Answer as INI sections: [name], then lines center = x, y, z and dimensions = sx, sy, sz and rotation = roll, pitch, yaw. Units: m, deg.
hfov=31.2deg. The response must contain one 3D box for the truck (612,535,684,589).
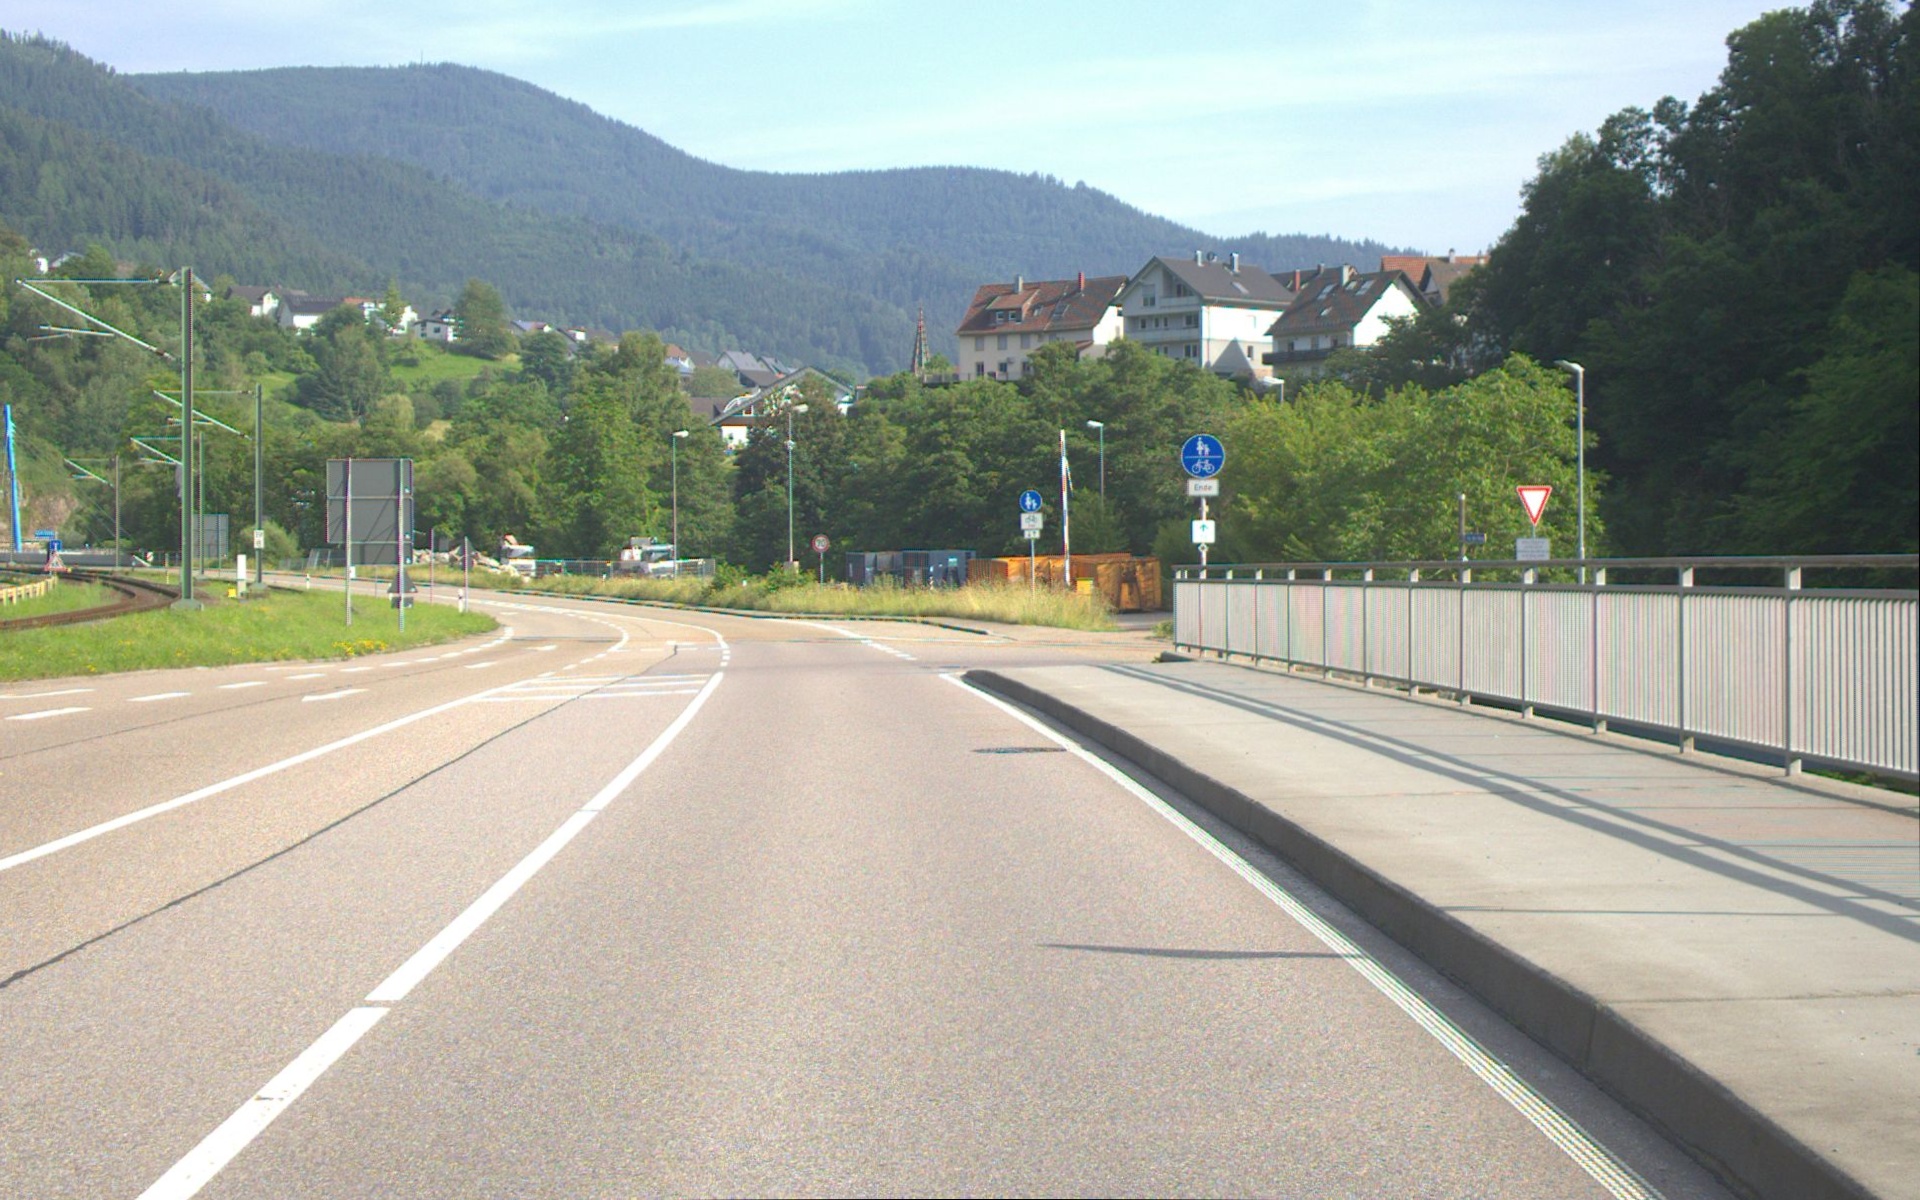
[truck]
center = -22.563, -2.759, 248.180
dimensions = 3.102, 3.769, 8.647
rotation = 1, 1, -19
